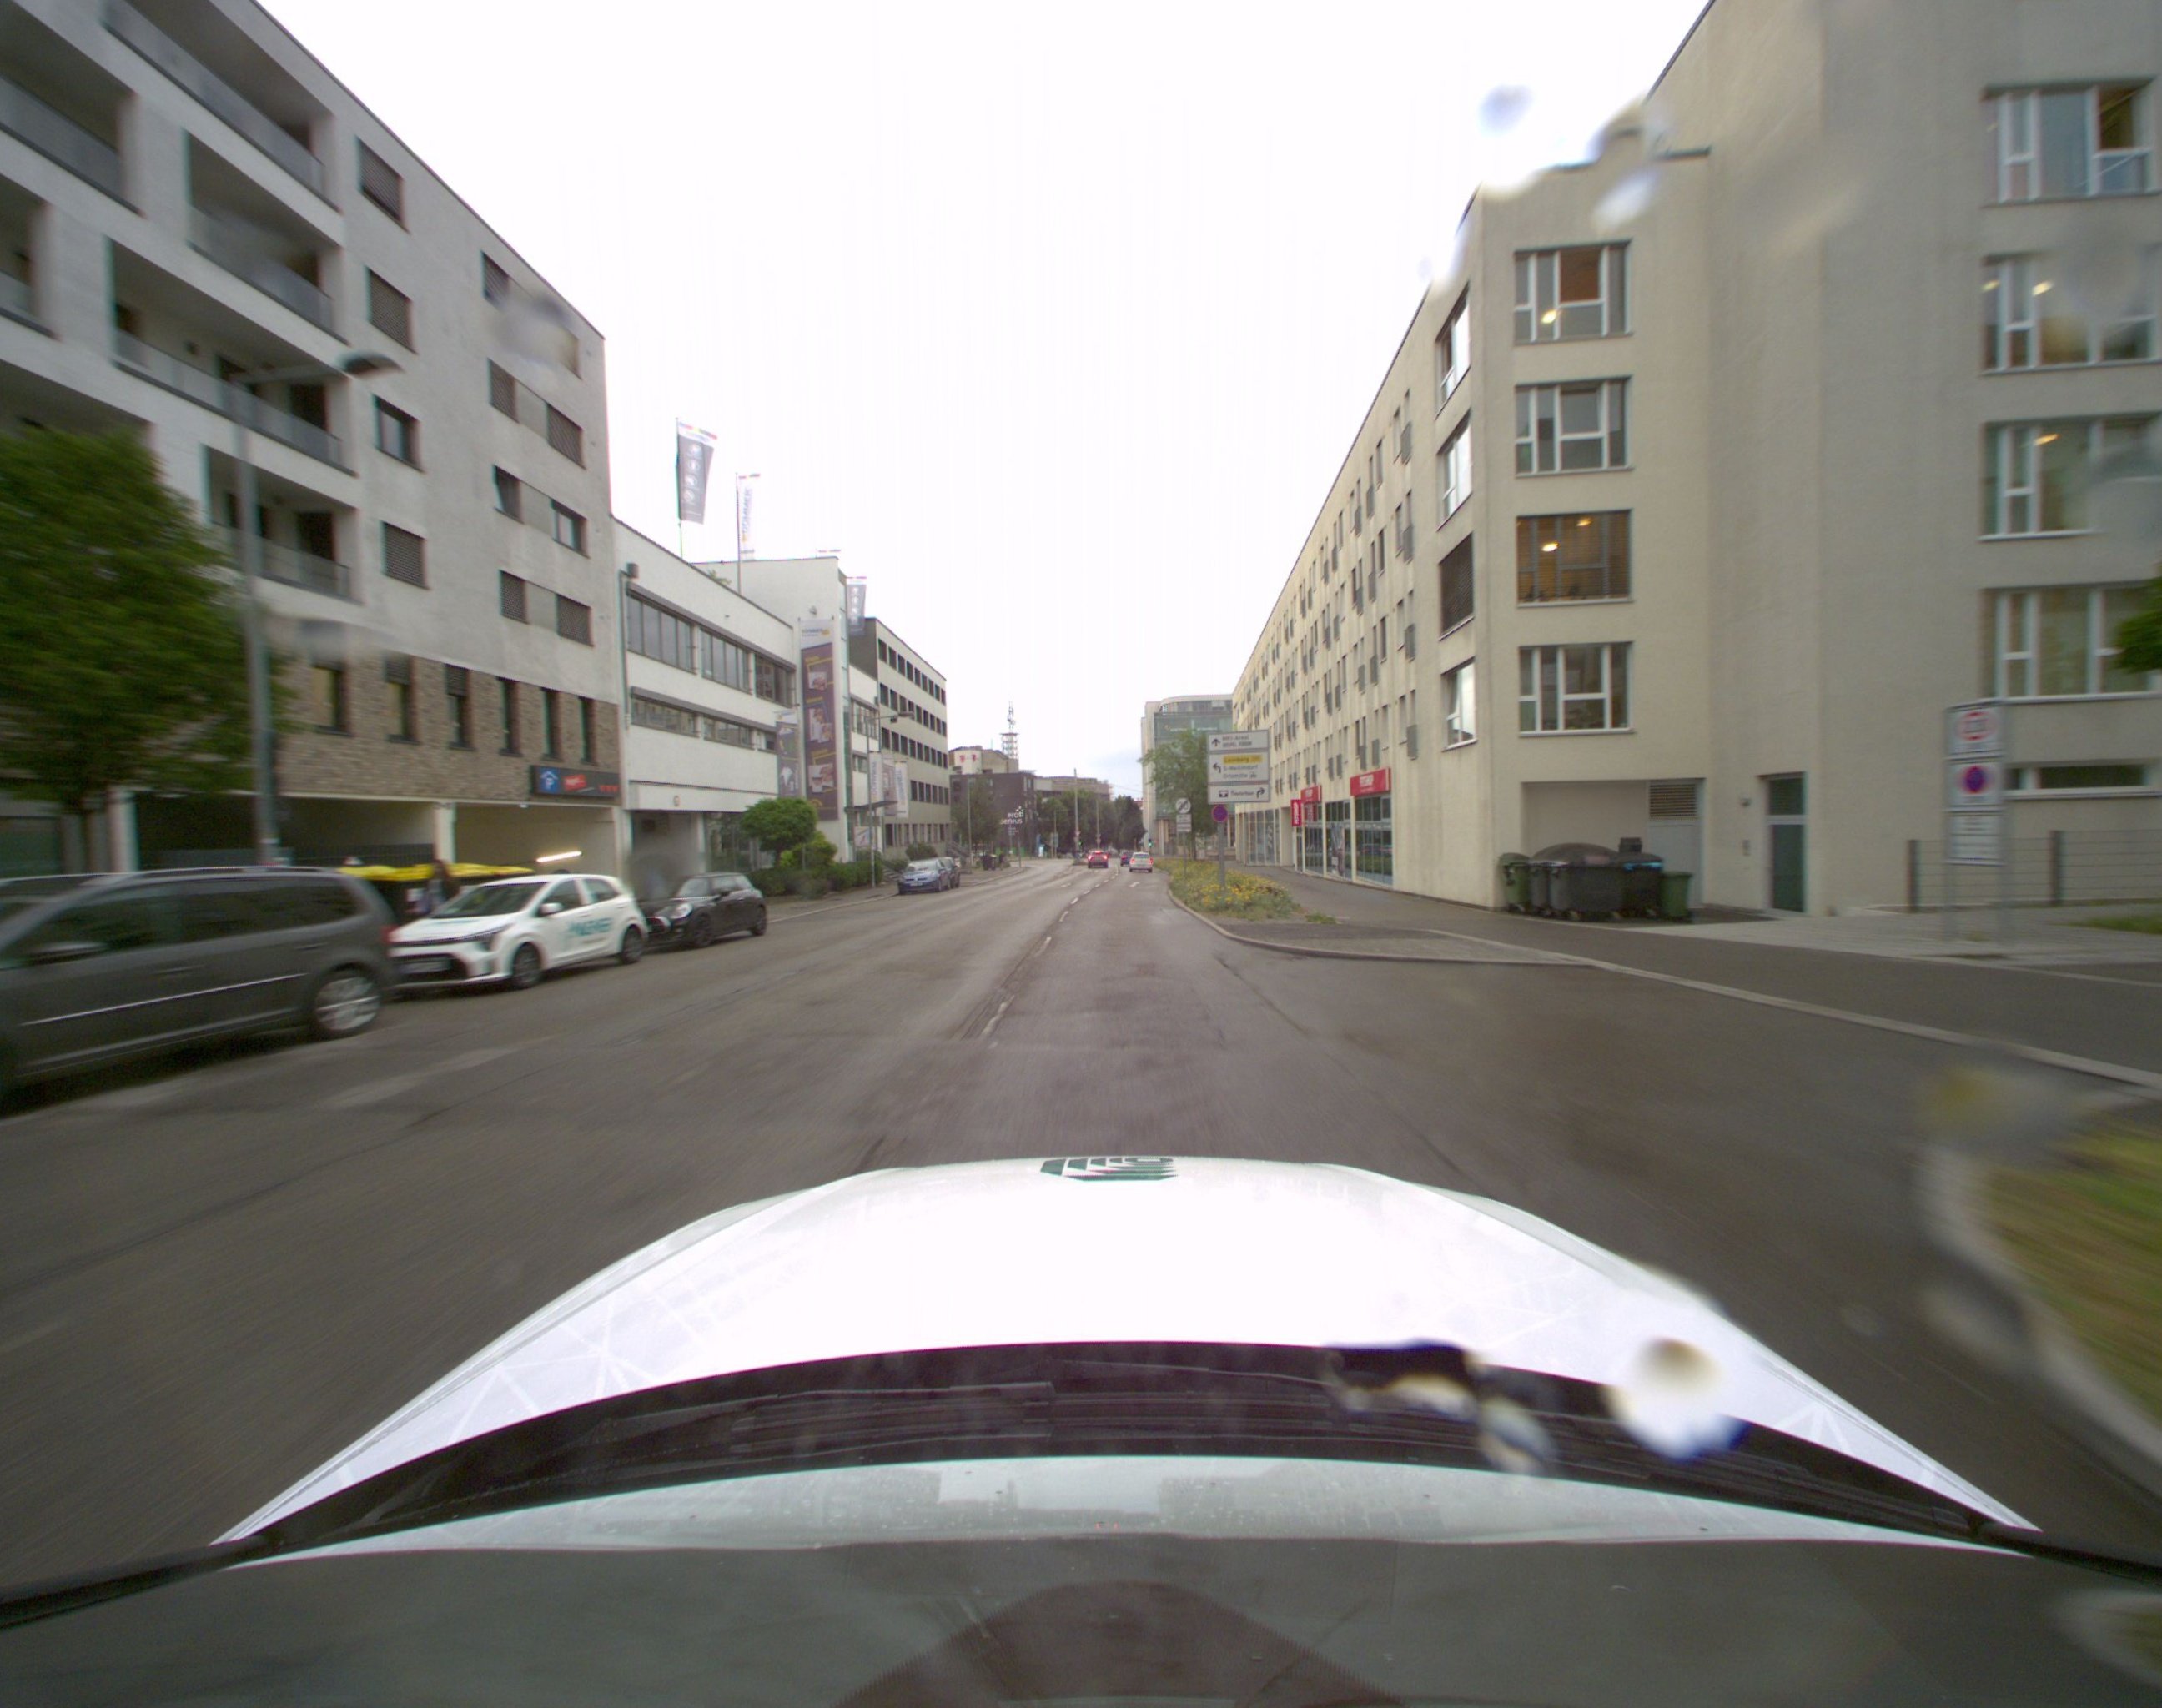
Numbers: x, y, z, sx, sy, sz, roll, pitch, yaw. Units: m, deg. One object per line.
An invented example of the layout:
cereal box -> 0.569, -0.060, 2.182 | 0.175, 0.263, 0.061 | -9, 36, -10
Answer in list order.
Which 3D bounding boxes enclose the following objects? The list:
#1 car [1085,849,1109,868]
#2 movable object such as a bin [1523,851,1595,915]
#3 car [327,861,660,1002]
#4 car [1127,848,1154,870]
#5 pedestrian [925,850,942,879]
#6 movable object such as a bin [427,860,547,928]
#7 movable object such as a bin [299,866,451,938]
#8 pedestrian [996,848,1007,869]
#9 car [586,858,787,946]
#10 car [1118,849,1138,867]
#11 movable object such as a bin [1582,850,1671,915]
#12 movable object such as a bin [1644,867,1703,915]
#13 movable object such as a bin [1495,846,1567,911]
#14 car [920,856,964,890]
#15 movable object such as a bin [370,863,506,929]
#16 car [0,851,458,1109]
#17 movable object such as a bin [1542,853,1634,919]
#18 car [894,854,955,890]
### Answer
car -> 1.527, 0.406, 77.228 | 2.133, 1.728, 4.001 | -1, -1, 2
movable object such as a bin -> 10.853, 0.648, 18.539 | 1.017, 1.402, 1.059 | -1, 0, 4
car -> -8.049, 0.938, 11.725 | 1.767, 1.600, 4.033 | -1, 0, 1
car -> 4.454, 0.326, 61.107 | 1.985, 1.577, 4.000 | -1, 0, 4
pedestrian -> -8.639, 0.627, 47.798 | 0.732, 1.708, 0.896 | -1, -1, -26
movable object such as a bin -> -14.606, 0.958, 20.107 | 1.791, 1.510, 1.480 | -3, 0, -2
movable object such as a bin -> -14.891, 0.992, 17.251 | 2.021, 1.430, 1.289 | 1, 0, -2
pedestrian -> -7.479, 0.415, 76.453 | 0.959, 1.955, 0.776 | -1, -1, -11
car -> -7.724, 0.872, 16.451 | 1.789, 1.516, 4.249 | -1, -1, 3
car -> 4.920, 0.409, 85.945 | 1.986, 1.750, 3.674 | -1, 0, 2
movable object such as a bin -> 12.222, 0.623, 18.308 | 1.255, 1.402, 1.113 | -1, 0, 3
movable object such as a bin -> 13.244, 0.821, 18.220 | 0.695, 1.027, 0.854 | -1, 0, 4
movable object such as a bin -> 10.793, 0.573, 19.583 | 1.168, 1.503, 1.015 | -1, 0, 4
car -> -6.845, 0.914, 40.378 | 1.558, 1.514, 3.171 | -2, 0, 0
movable object such as a bin -> -14.668, 0.927, 18.648 | 2.049, 1.423, 1.316 | 0, 0, -2
car -> -7.854, 0.830, 6.492 | 2.071, 1.609, 4.685 | -2, 0, 0
movable object such as a bin -> 10.820, 0.673, 17.435 | 1.230, 1.320, 1.193 | -2, -1, 3
car -> -6.865, 0.770, 36.049 | 1.908, 1.481, 4.354 | -1, -1, -1
